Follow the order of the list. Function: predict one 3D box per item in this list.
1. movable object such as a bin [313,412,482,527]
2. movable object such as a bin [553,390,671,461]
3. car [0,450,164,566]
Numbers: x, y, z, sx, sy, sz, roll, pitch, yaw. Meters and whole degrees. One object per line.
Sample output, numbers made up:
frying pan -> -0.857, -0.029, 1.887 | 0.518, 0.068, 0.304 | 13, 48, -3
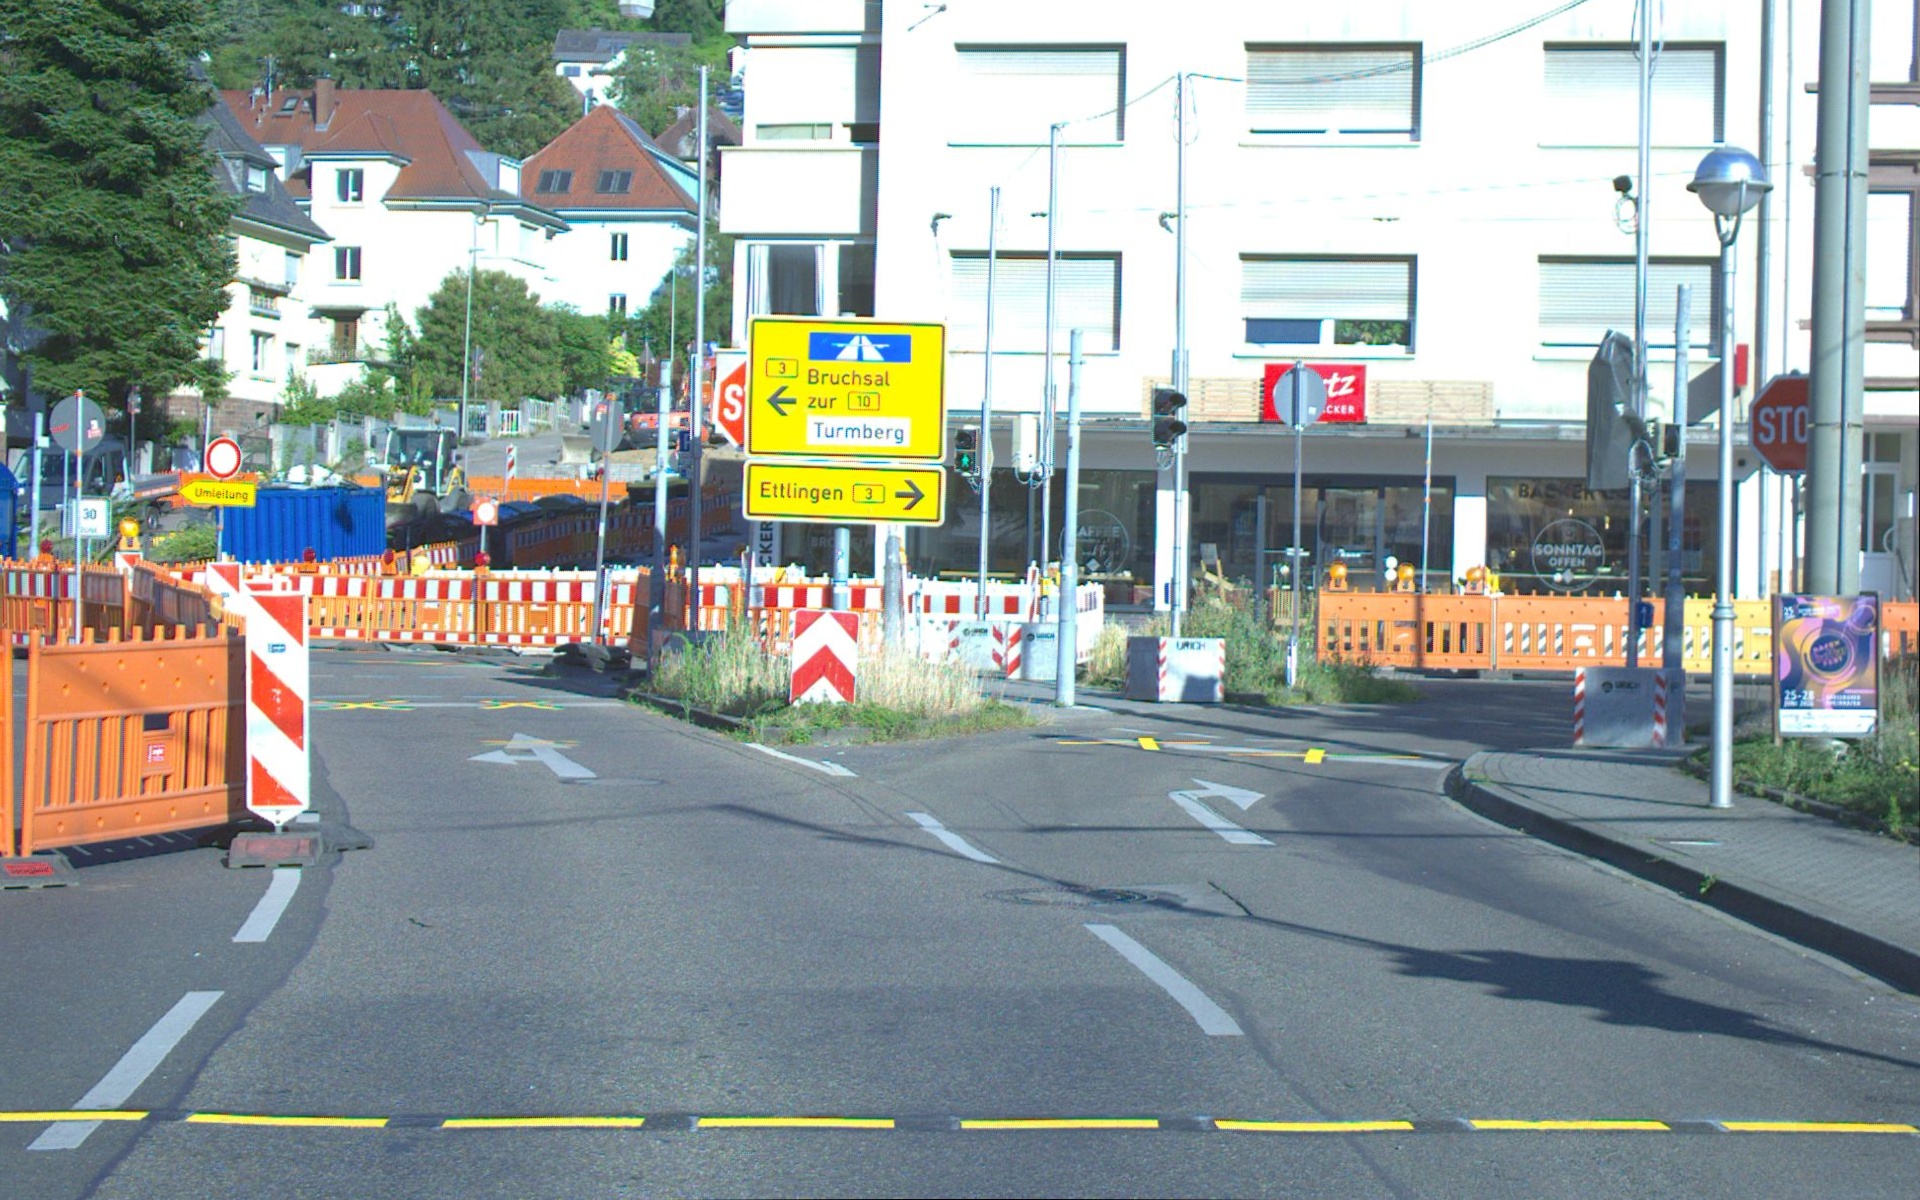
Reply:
movable object such as a bin -> -12.882, -2.971, 78.965 | 1.950, 2.486, 4.547 | 1, 1, 18
movable object such as a bin -> -11.581, -5.814, 114.860 | 2.566, 2.114, 5.782 | 1, 1, 8
car -> -18.083, -1.740, 66.179 | 2.585, 2.113, 6.145 | 1, 1, 18
